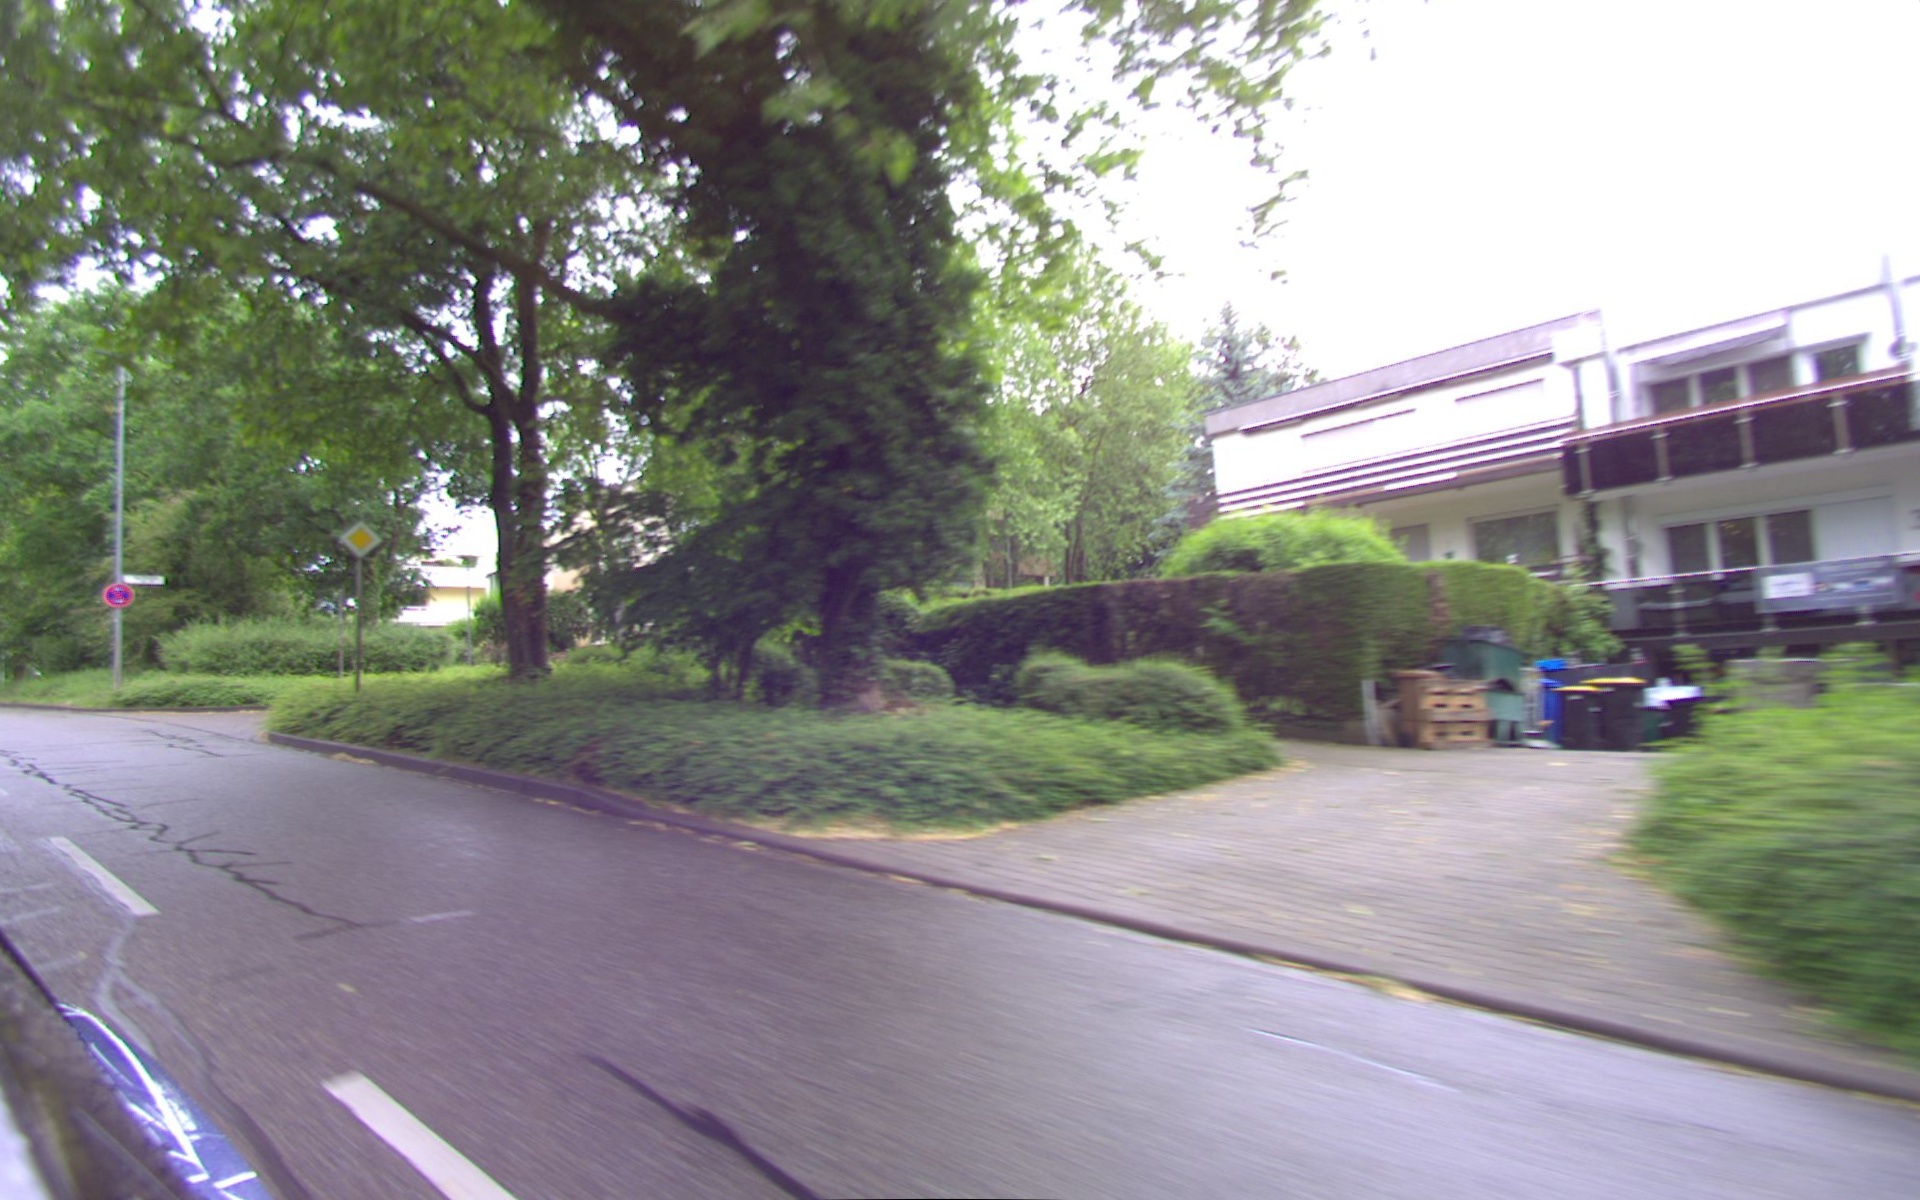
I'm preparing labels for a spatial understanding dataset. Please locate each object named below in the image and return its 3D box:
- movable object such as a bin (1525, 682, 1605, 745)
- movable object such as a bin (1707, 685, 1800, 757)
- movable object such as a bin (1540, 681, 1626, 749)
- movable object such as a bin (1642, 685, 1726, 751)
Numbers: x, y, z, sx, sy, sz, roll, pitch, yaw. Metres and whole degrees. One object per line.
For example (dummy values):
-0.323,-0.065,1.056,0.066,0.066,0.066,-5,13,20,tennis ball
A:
9.320,1.730,15.590,0.917,0.877,0.718,-2,-2,43,movable object such as a bin
10.751,1.616,13.716,0.917,0.877,0.718,-2,-2,43,movable object such as a bin
8.940,1.631,14.519,0.917,0.877,0.718,-2,-2,43,movable object such as a bin
10.704,1.729,14.964,0.917,0.877,0.718,-2,-2,43,movable object such as a bin
